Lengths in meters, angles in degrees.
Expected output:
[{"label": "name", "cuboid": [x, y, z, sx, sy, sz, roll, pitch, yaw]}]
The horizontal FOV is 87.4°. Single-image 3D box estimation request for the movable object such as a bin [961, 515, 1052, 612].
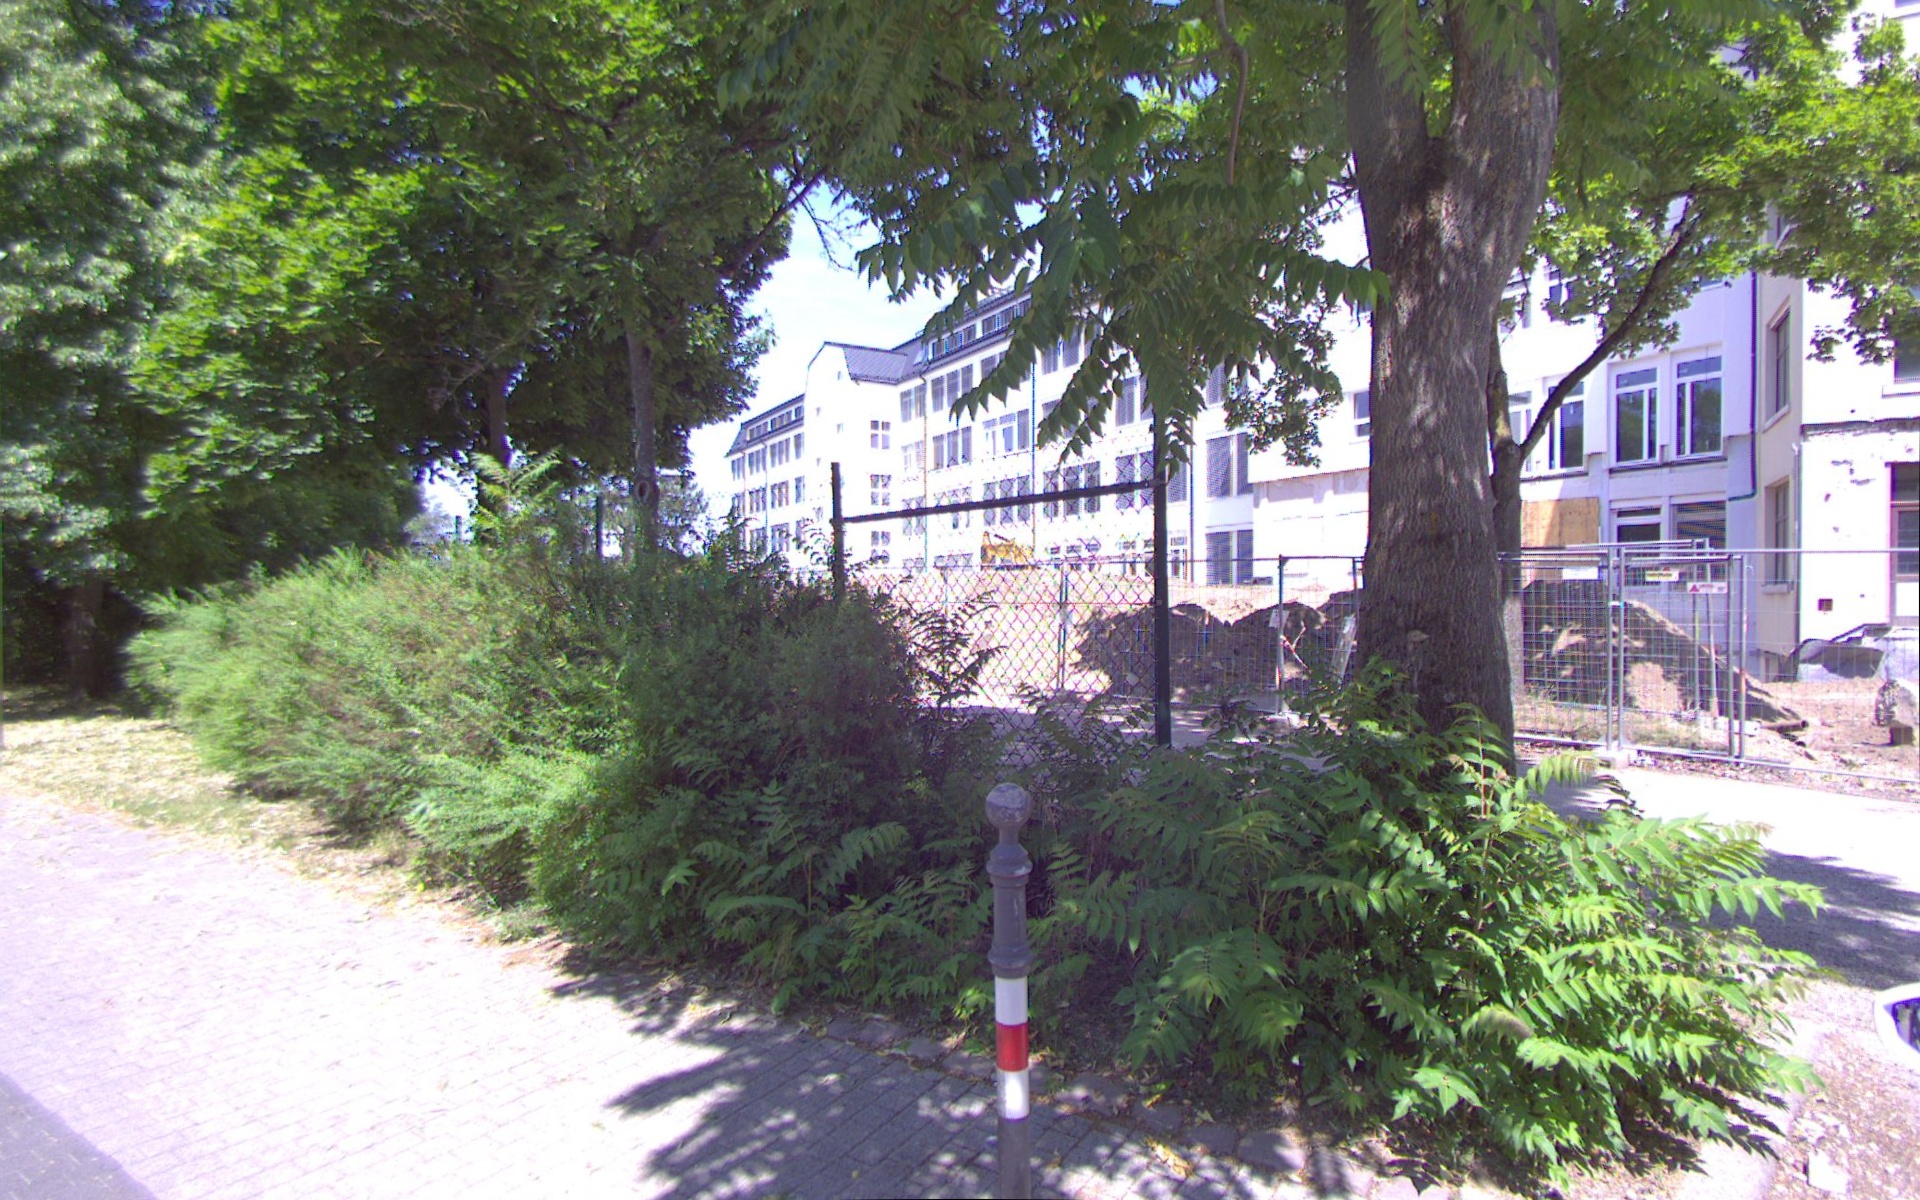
[{"label": "movable object such as a bin", "cuboid": [2.197, -1.651, 49.228, 1.974, 4.430, 5.685, 0, 0, -26]}]
